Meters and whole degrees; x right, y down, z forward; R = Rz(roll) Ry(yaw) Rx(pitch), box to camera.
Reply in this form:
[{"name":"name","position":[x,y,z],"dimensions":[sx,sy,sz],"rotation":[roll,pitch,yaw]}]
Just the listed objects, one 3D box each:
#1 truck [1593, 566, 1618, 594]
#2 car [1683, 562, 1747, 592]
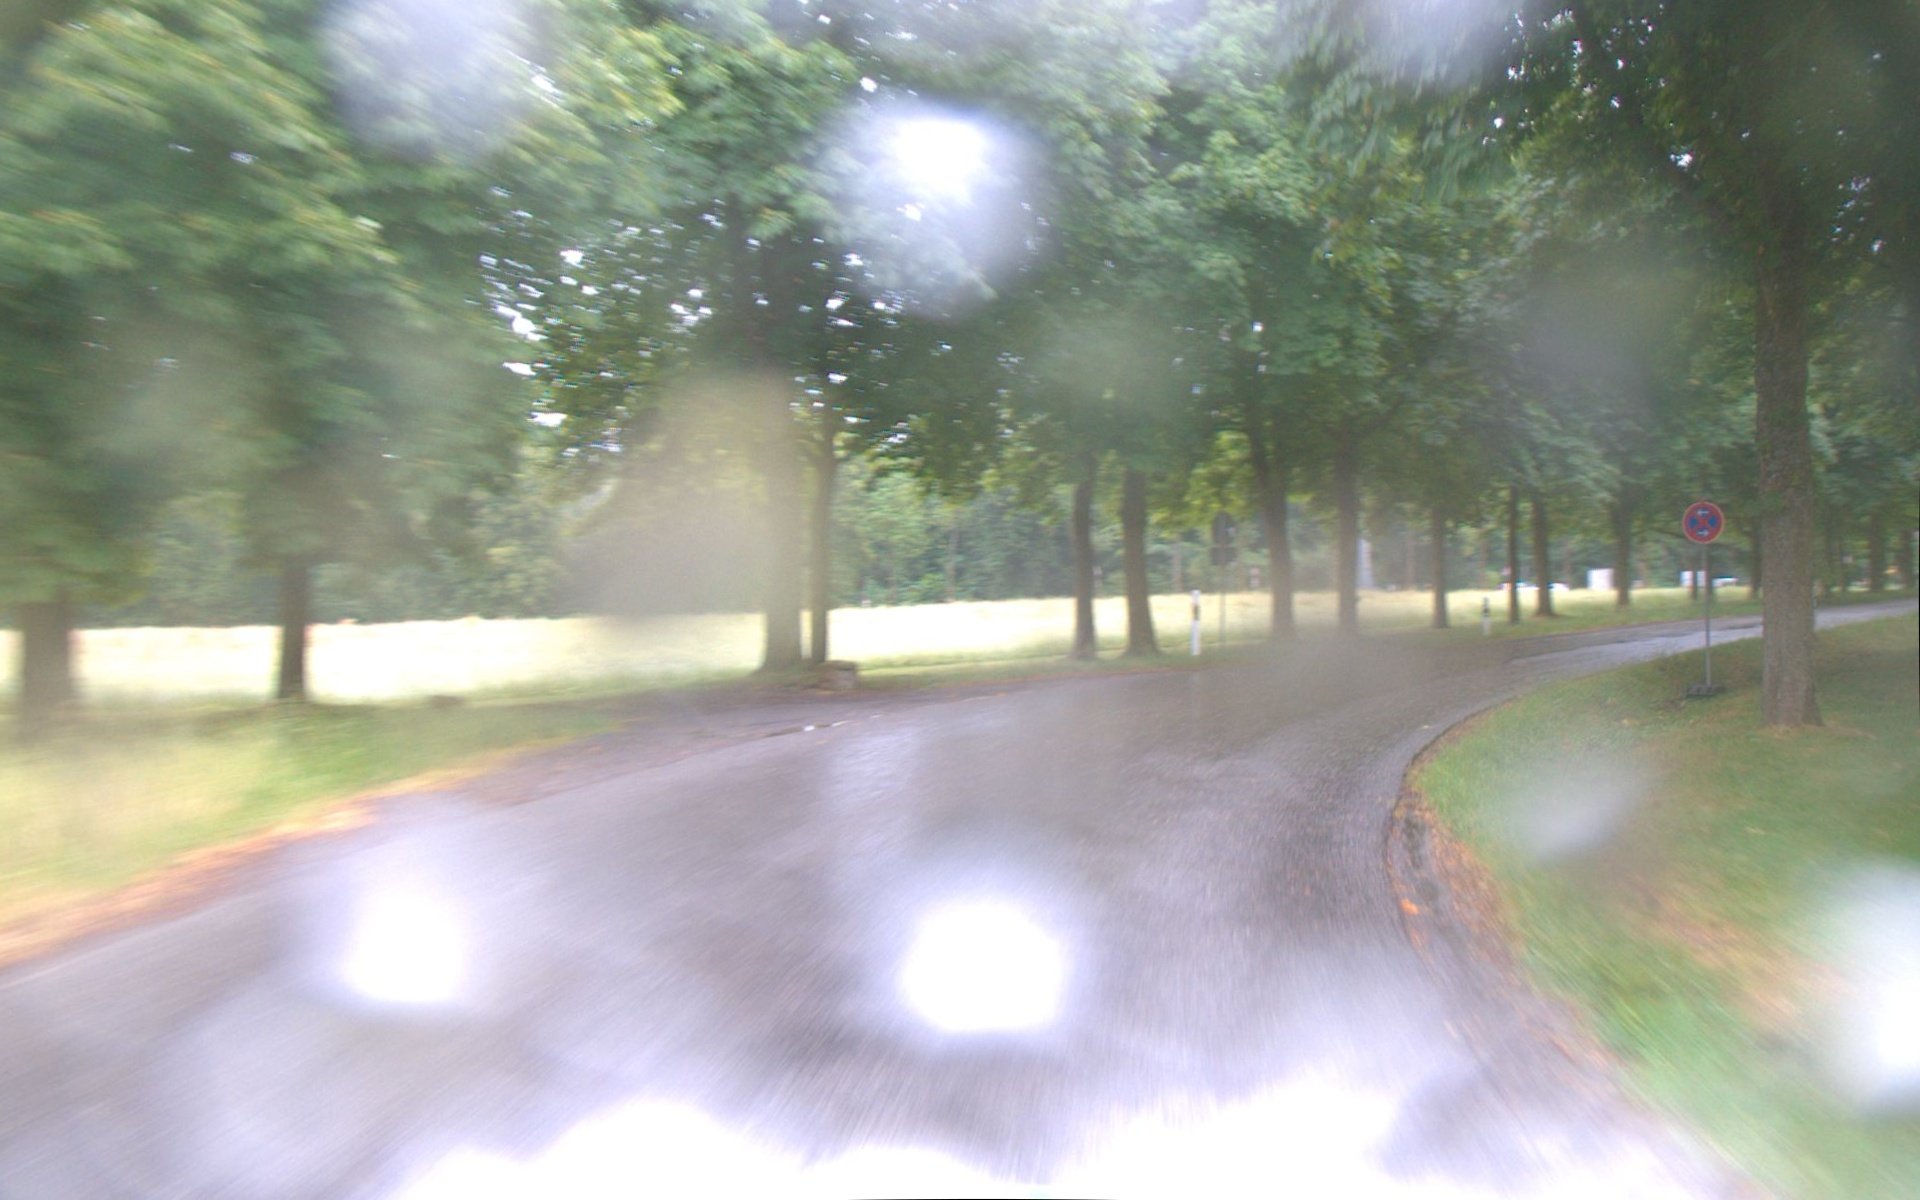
[{"name":"truck","position":[57.797,-1.791,148.087],"dimensions":[1.833,2.485,3.346],"rotation":[-2,0,26]},{"name":"car","position":[66.784,-2.039,146.399],"dimensions":[2.340,2.450,5.973],"rotation":[0,-1,-8]}]
